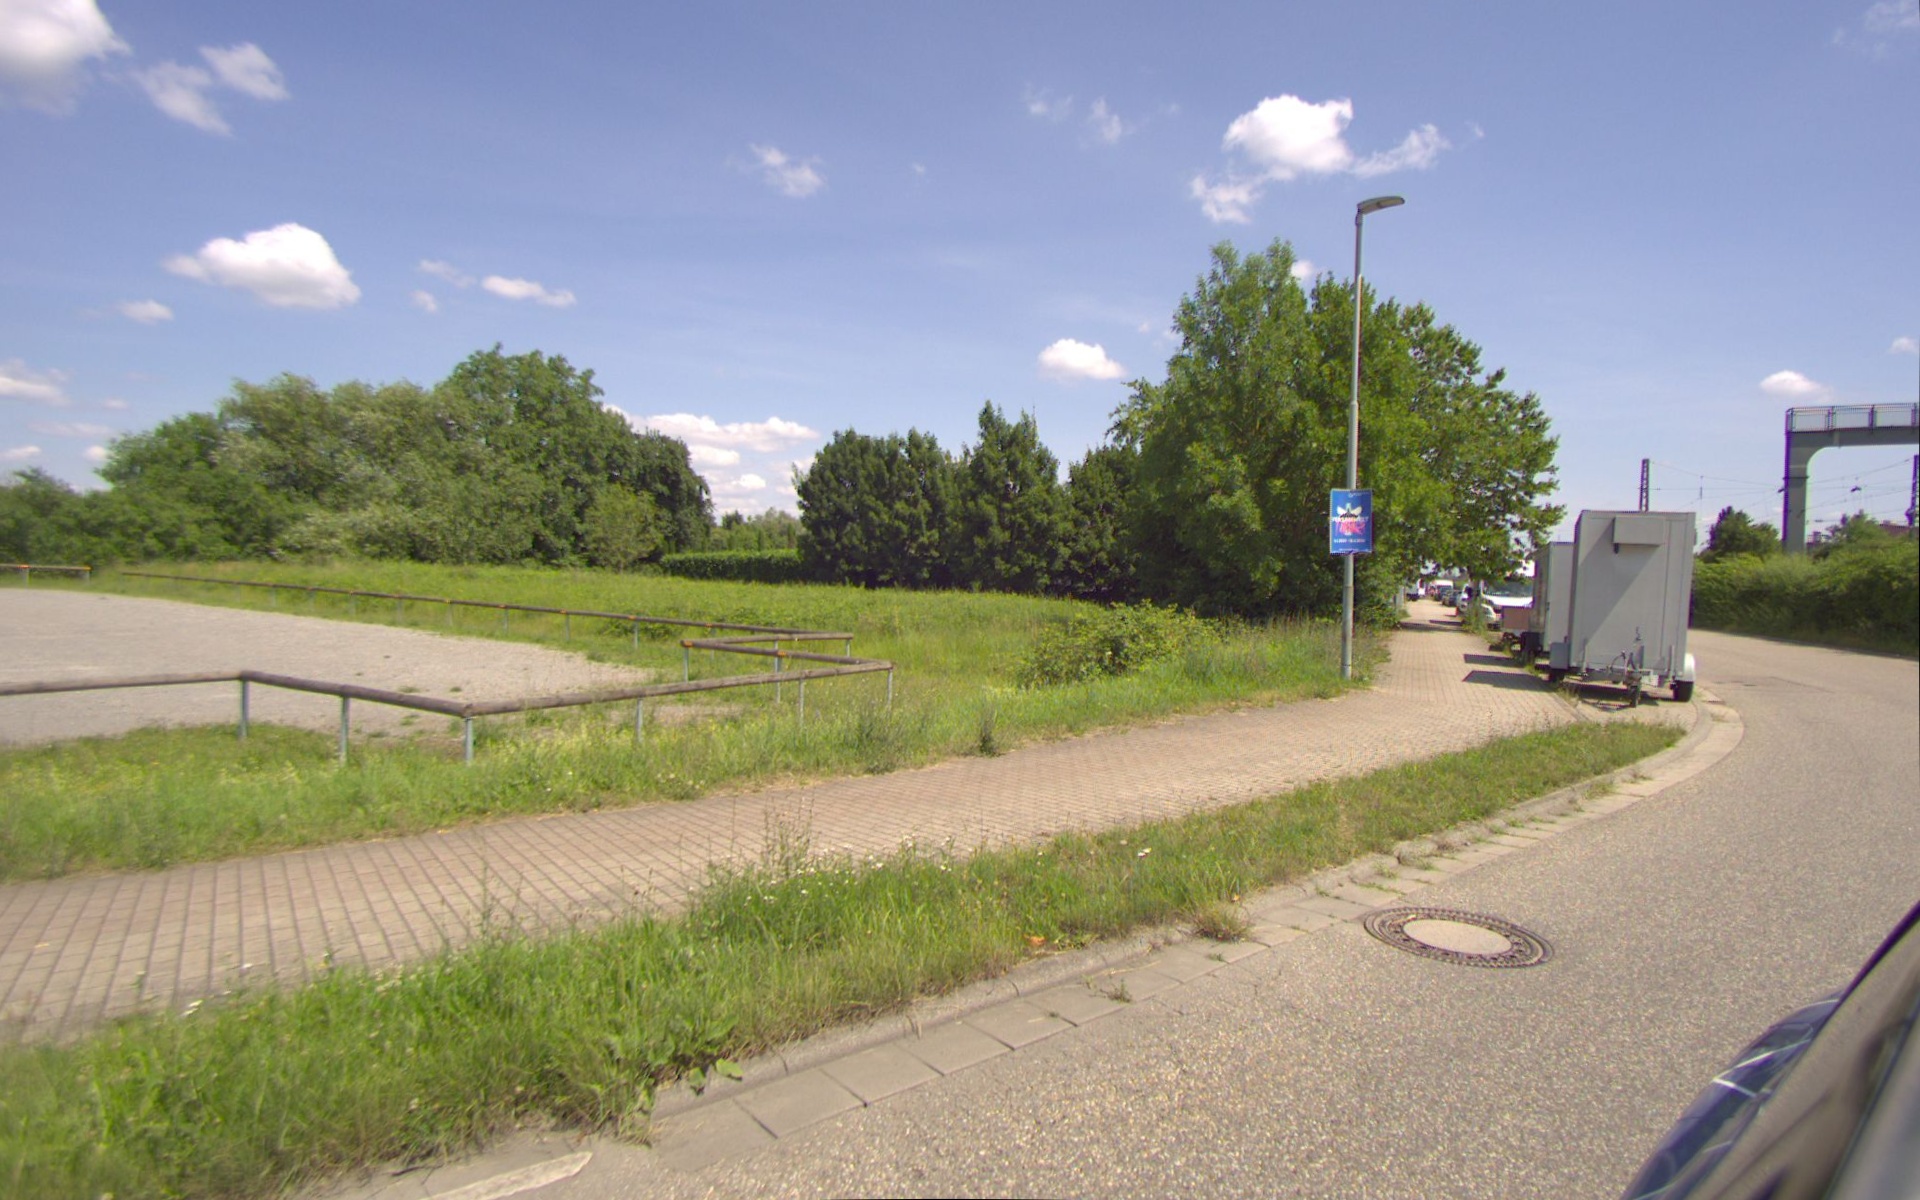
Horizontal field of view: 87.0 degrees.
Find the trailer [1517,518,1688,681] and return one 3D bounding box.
[{"bbox_3d":[11.635,-0.071,18.681,1.906,2.538,4.700,5,3,25],"label":"trailer"}]

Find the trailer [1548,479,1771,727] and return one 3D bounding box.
[{"bbox_3d":[9.207,-0.041,13.743,1.924,2.676,5.127,5,3,30],"label":"trailer"}]

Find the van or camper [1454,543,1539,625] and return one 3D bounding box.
[{"bbox_3d":[21.204,-0.646,40.324,2.422,2.861,7.559,3,2,25],"label":"van or camper"}]

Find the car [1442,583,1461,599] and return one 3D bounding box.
[{"bbox_3d":[55.513,-1.049,114.318,1.788,1.723,3.967,4,2,25],"label":"car"}]

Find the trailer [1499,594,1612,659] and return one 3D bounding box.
[{"bbox_3d":[13.844,0.547,23.765,1.993,1.136,4.446,5,3,28],"label":"trailer"}]
